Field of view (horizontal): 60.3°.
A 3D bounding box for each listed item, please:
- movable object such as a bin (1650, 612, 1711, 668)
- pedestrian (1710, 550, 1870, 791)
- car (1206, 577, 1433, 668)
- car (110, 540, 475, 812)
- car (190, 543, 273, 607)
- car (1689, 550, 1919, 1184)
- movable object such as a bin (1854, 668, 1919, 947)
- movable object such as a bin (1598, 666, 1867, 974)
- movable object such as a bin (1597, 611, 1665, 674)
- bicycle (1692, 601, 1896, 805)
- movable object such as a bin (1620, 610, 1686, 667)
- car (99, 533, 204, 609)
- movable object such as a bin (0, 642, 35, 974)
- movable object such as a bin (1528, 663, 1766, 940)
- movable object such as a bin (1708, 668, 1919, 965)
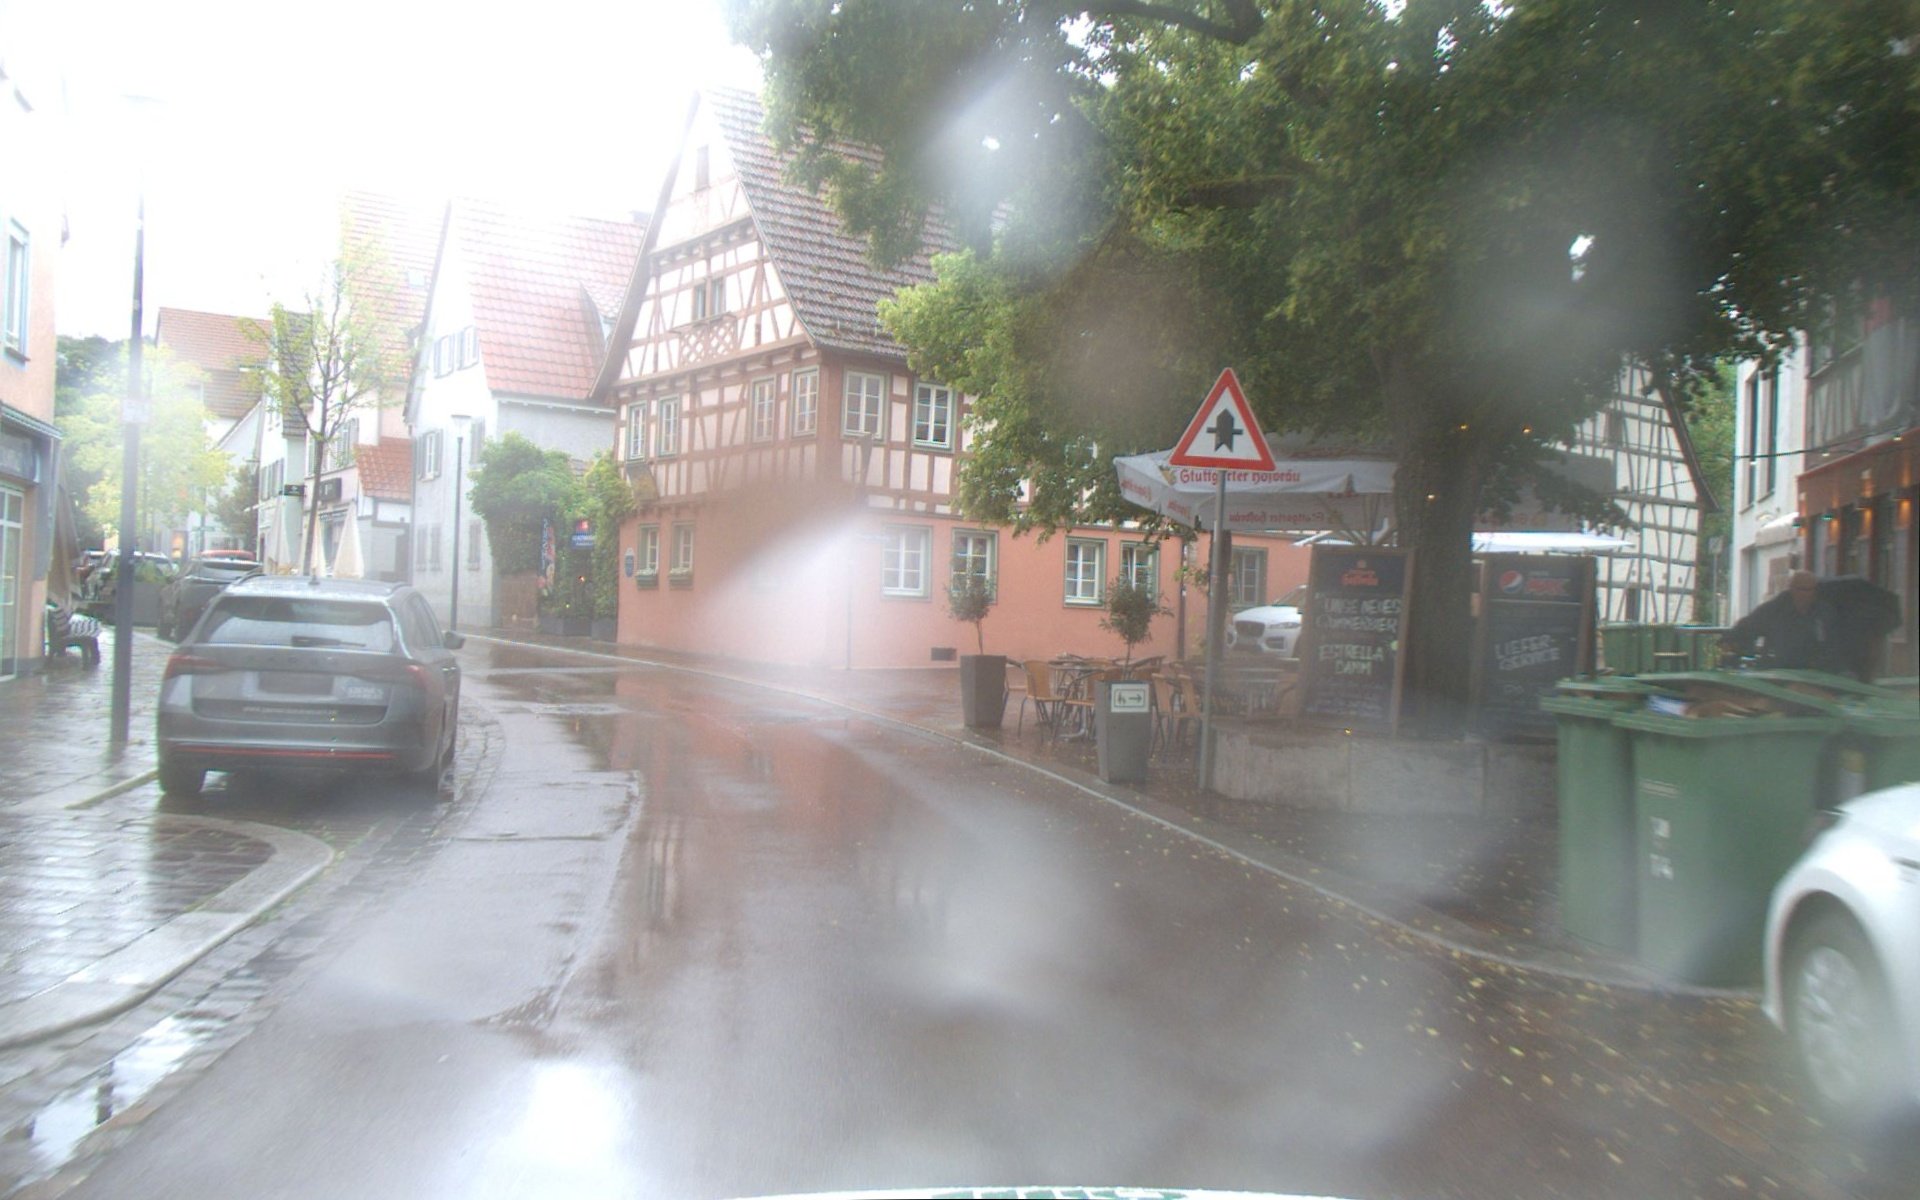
[{"bbox_3d":[13.959,0.777,32.060,0.689,1.044,0.847,3,-2,-35],"label":"movable object such as a bin"},{"bbox_3d":[6.190,0.511,12.387,0.891,1.728,0.862,0,-1,14],"label":"pedestrian"},{"bbox_3d":[7.398,0.444,33.891,4.562,1.661,1.976,1,2,-35],"label":"car"},{"bbox_3d":[-4.586,0.462,12.016,1.844,1.567,4.383,3,0,-15],"label":"car"},{"bbox_3d":[-23.310,-0.816,52.868,1.875,1.843,3.960,4,0,-30],"label":"car"},{"bbox_3d":[3.289,0.682,3.450,1.751,1.583,3.949,1,0,-1],"label":"car"},{"bbox_3d":[4.313,0.890,7.098,0.527,1.150,0.727,0,1,-4],"label":"movable object such as a bin"},{"bbox_3d":[2.979,0.828,6.417,0.712,1.112,0.609,2,-2,-10],"label":"movable object such as a bin"},{"bbox_3d":[12.501,0.785,30.821,0.869,1.130,0.847,3,-2,-35],"label":"movable object such as a bin"},{"bbox_3d":[6.157,0.702,12.358,0.905,1.374,2.217,0,0,14],"label":"bicycle"},{"bbox_3d":[13.217,0.727,31.530,0.820,1.040,0.847,3,-2,-35],"label":"movable object such as a bin"},{"bbox_3d":[-20.159,-0.660,41.153,1.807,1.695,4.590,3,-2,-32],"label":"car"},{"bbox_3d":[-3.713,0.731,5.643,0.686,1.163,0.718,2,0,-3],"label":"movable object such as a bin"},{"bbox_3d":[2.917,0.839,7.057,0.712,1.102,0.603,2,-2,-10],"label":"movable object such as a bin"},{"bbox_3d":[3.635,0.890,7.053,0.527,1.162,0.727,1,0,-3],"label":"movable object such as a bin"}]
